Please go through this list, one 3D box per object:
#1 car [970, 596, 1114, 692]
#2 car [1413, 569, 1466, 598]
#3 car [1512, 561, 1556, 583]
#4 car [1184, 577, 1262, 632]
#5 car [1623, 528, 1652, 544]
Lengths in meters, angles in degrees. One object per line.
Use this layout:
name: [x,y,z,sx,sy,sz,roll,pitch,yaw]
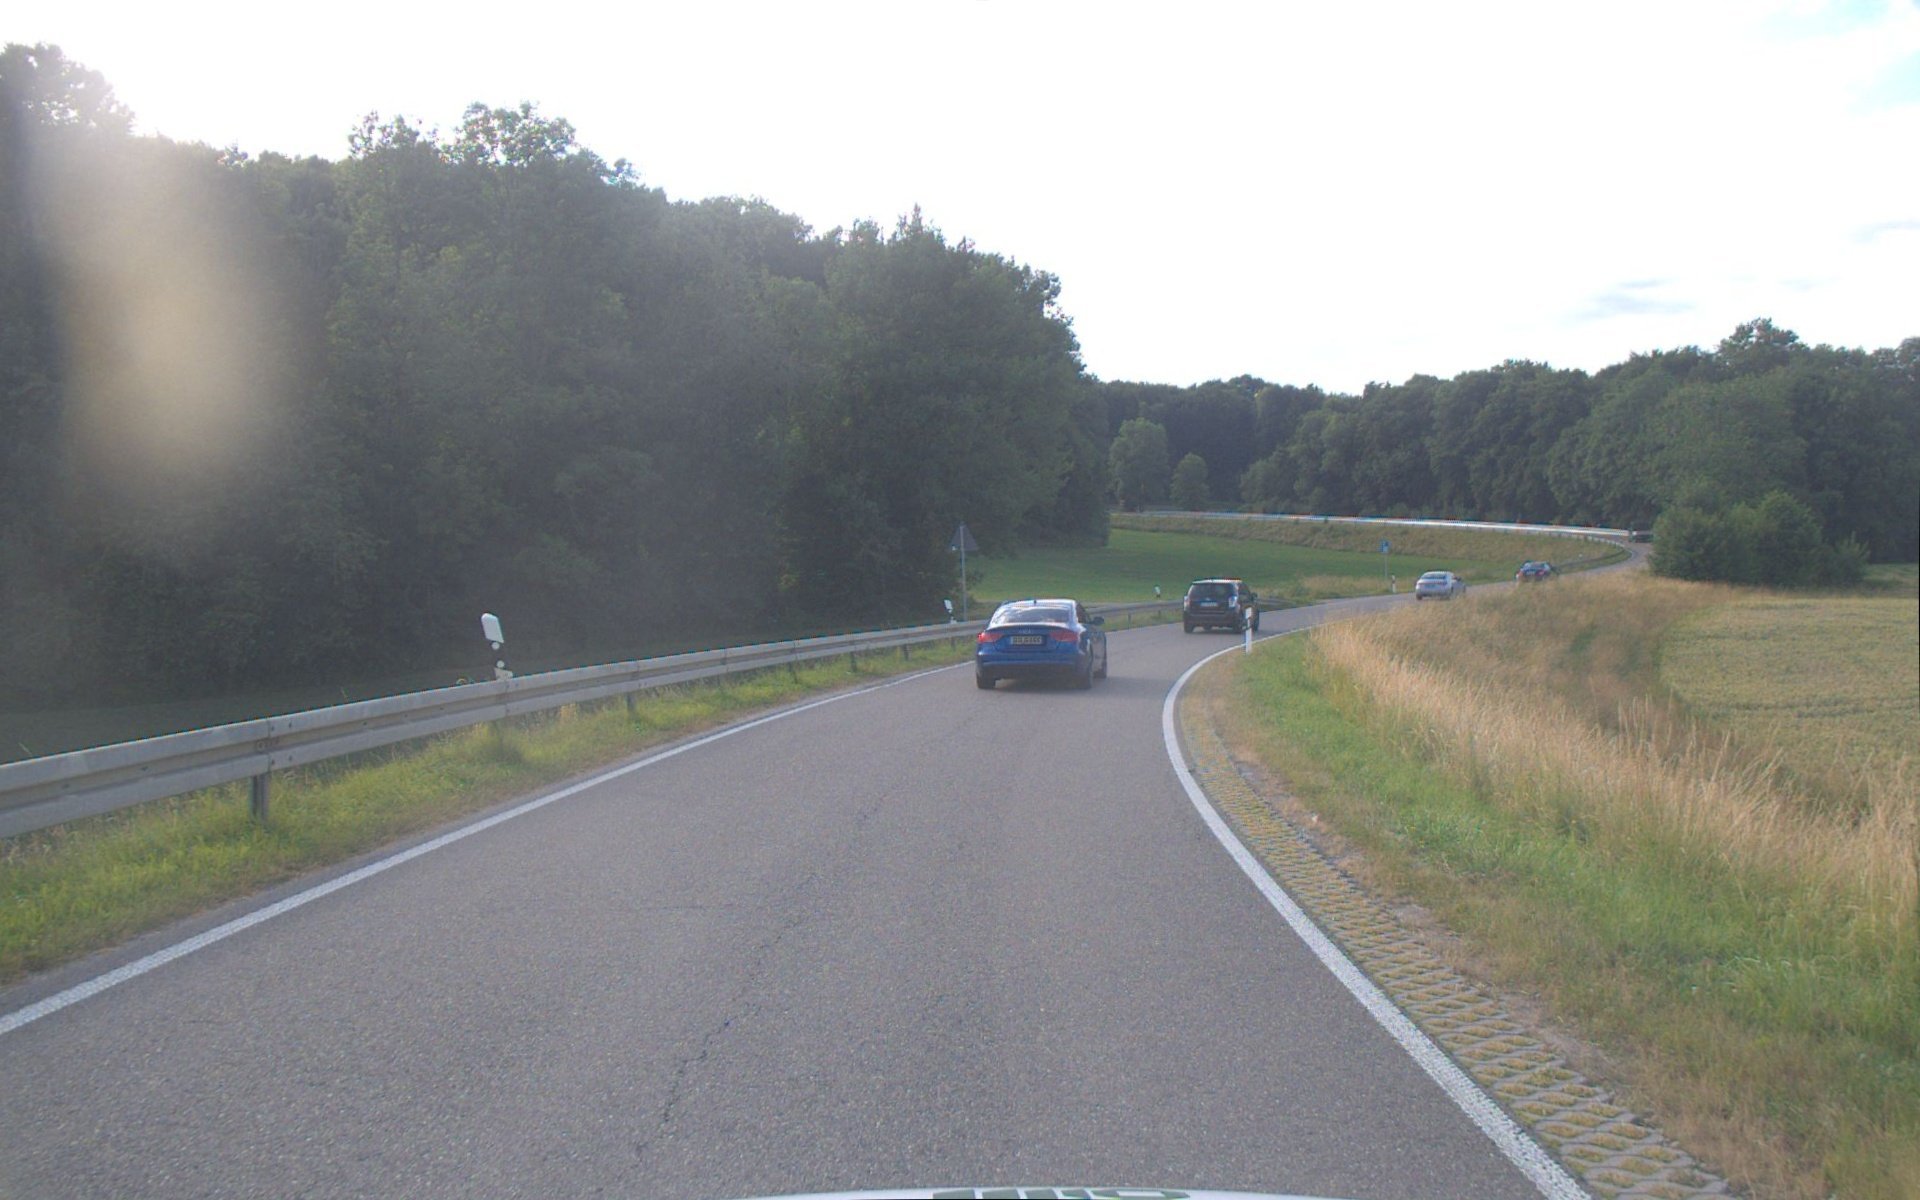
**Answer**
car: [1.417,0.649,26.805,1.779,1.362,4.354,0,1,10]
car: [24.969,-0.873,86.074,1.651,1.400,3.991,-2,0,32]
car: [36.719,-1.802,105.848,1.450,1.248,3.280,-3,0,42]
car: [8.225,0.110,51.460,1.823,1.596,4.002,0,1,18]
car: [79.826,-7.600,194.827,1.952,1.802,4.003,-1,3,3]
